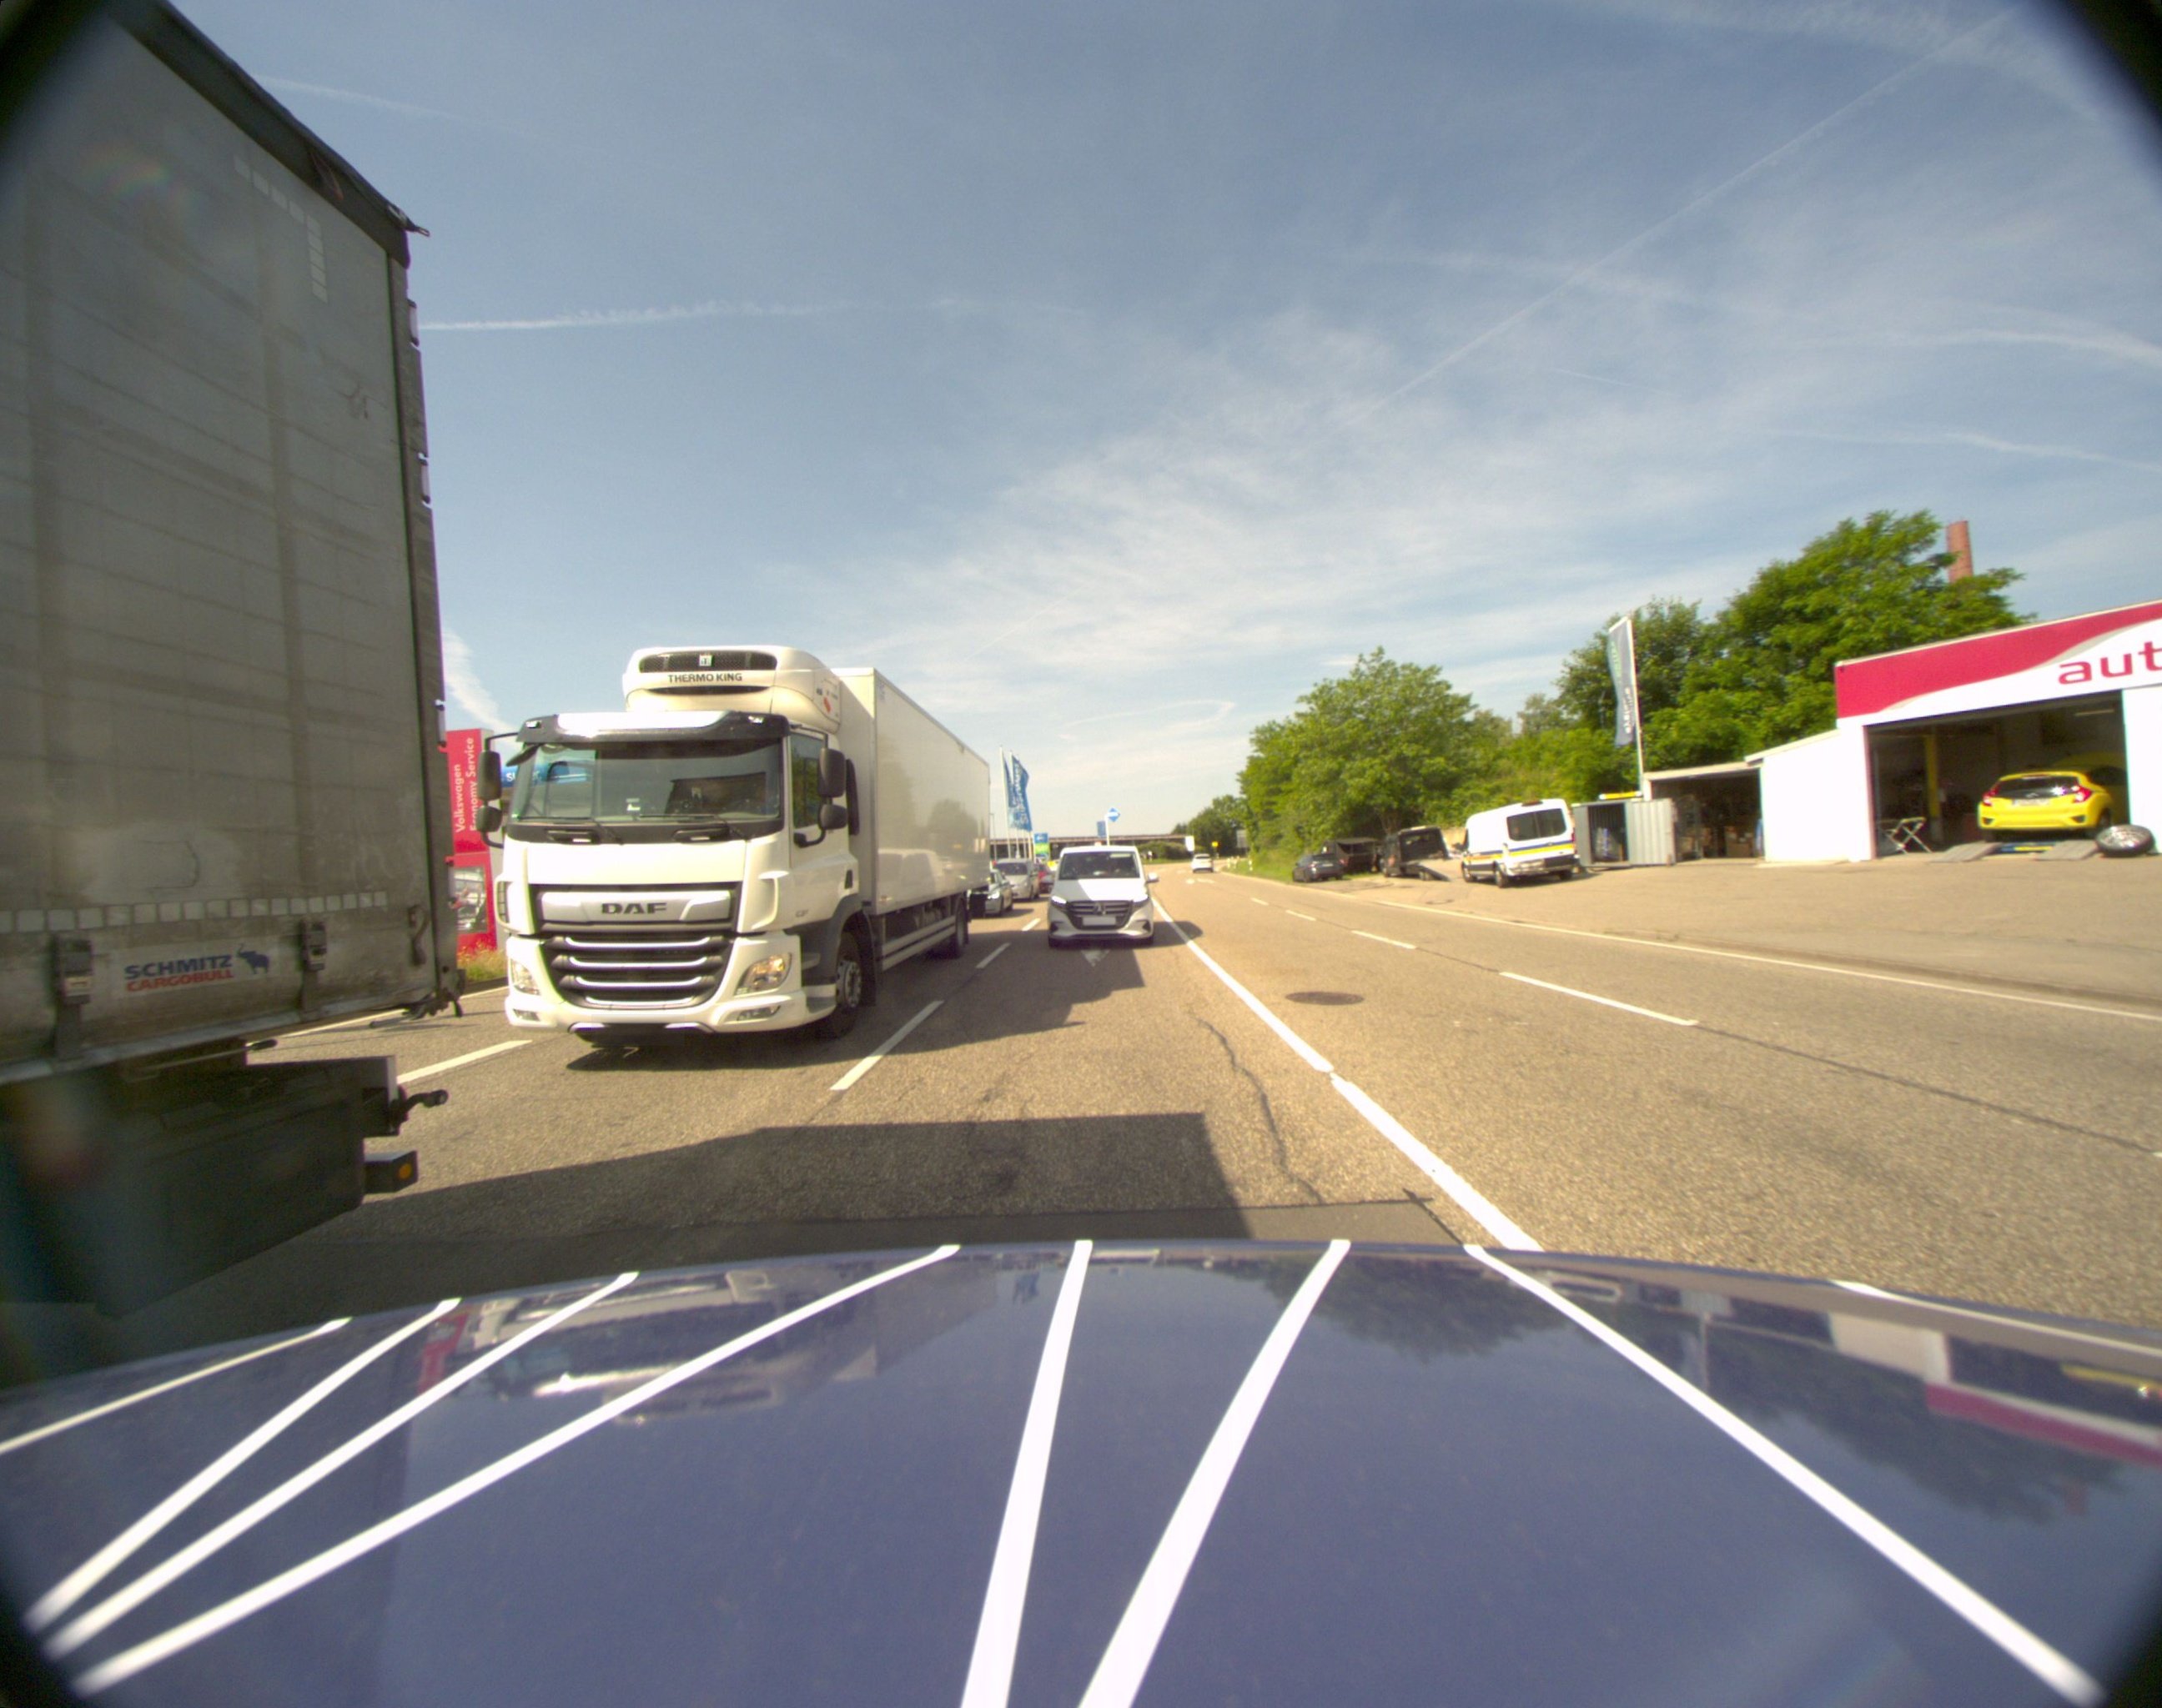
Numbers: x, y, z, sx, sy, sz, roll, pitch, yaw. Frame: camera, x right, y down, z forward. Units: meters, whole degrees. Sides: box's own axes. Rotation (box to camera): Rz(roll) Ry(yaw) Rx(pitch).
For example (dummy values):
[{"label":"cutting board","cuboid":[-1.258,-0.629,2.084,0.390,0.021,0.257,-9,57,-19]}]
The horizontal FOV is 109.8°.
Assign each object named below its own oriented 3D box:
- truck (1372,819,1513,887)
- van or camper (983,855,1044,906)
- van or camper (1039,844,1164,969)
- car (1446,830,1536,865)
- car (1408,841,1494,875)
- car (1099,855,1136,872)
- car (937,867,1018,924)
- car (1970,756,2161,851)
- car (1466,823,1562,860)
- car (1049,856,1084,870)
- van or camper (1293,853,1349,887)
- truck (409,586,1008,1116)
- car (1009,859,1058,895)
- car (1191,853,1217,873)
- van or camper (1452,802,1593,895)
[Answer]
[{"label":"truck","cuboid":[15.237,-0.035,32.885,2.336,2.283,8.806,-7,0,5]},{"label":"van or camper","cuboid":[-2.612,0.985,30.752,1.751,1.777,5.134,-3,0,2]},{"label":"van or camper","cuboid":[0.540,0.849,14.814,1.998,2.002,5.292,0,0,5]},{"label":"car","cuboid":[19.798,-0.286,36.735,3.674,1.460,1.737,-3,0,-18]},{"label":"car","cuboid":[18.647,0.190,38.359,3.673,1.502,1.715,-3,0,-18]},{"label":"car","cuboid":[3.932,1.015,81.398,1.864,1.631,4.429,-3,0,35]},{"label":"car","cuboid":[-3.037,1.183,23.096,1.739,1.420,4.225,-3,0,1]},{"label":"car","cuboid":[22.015,-1.115,16.966,3.674,1.715,1.736,-6,1,-23]},{"label":"car","cuboid":[19.740,-0.548,34.678,3.674,1.460,1.737,-3,0,-18]},{"label":"car","cuboid":[-1.967,1.165,100.851,4.248,1.628,1.826,-3,-1,29]},{"label":"van or camper","cuboid":[12.143,0.774,38.686,1.643,1.515,4.468,-4,0,4]},{"label":"truck","cuboid":[-3.298,0.010,11.184,2.886,3.788,11.143,-3,0,2]},{"label":"car","cuboid":[-2.253,1.078,36.957,1.805,1.563,3.715,-1,0,4]},{"label":"car","cuboid":[10.702,0.743,66.123,1.939,1.664,4.002,-1,0,5]},{"label":"van or camper","cuboid":[14.243,-0.189,25.027,2.158,2.484,5.955,-7,-1,13]}]
